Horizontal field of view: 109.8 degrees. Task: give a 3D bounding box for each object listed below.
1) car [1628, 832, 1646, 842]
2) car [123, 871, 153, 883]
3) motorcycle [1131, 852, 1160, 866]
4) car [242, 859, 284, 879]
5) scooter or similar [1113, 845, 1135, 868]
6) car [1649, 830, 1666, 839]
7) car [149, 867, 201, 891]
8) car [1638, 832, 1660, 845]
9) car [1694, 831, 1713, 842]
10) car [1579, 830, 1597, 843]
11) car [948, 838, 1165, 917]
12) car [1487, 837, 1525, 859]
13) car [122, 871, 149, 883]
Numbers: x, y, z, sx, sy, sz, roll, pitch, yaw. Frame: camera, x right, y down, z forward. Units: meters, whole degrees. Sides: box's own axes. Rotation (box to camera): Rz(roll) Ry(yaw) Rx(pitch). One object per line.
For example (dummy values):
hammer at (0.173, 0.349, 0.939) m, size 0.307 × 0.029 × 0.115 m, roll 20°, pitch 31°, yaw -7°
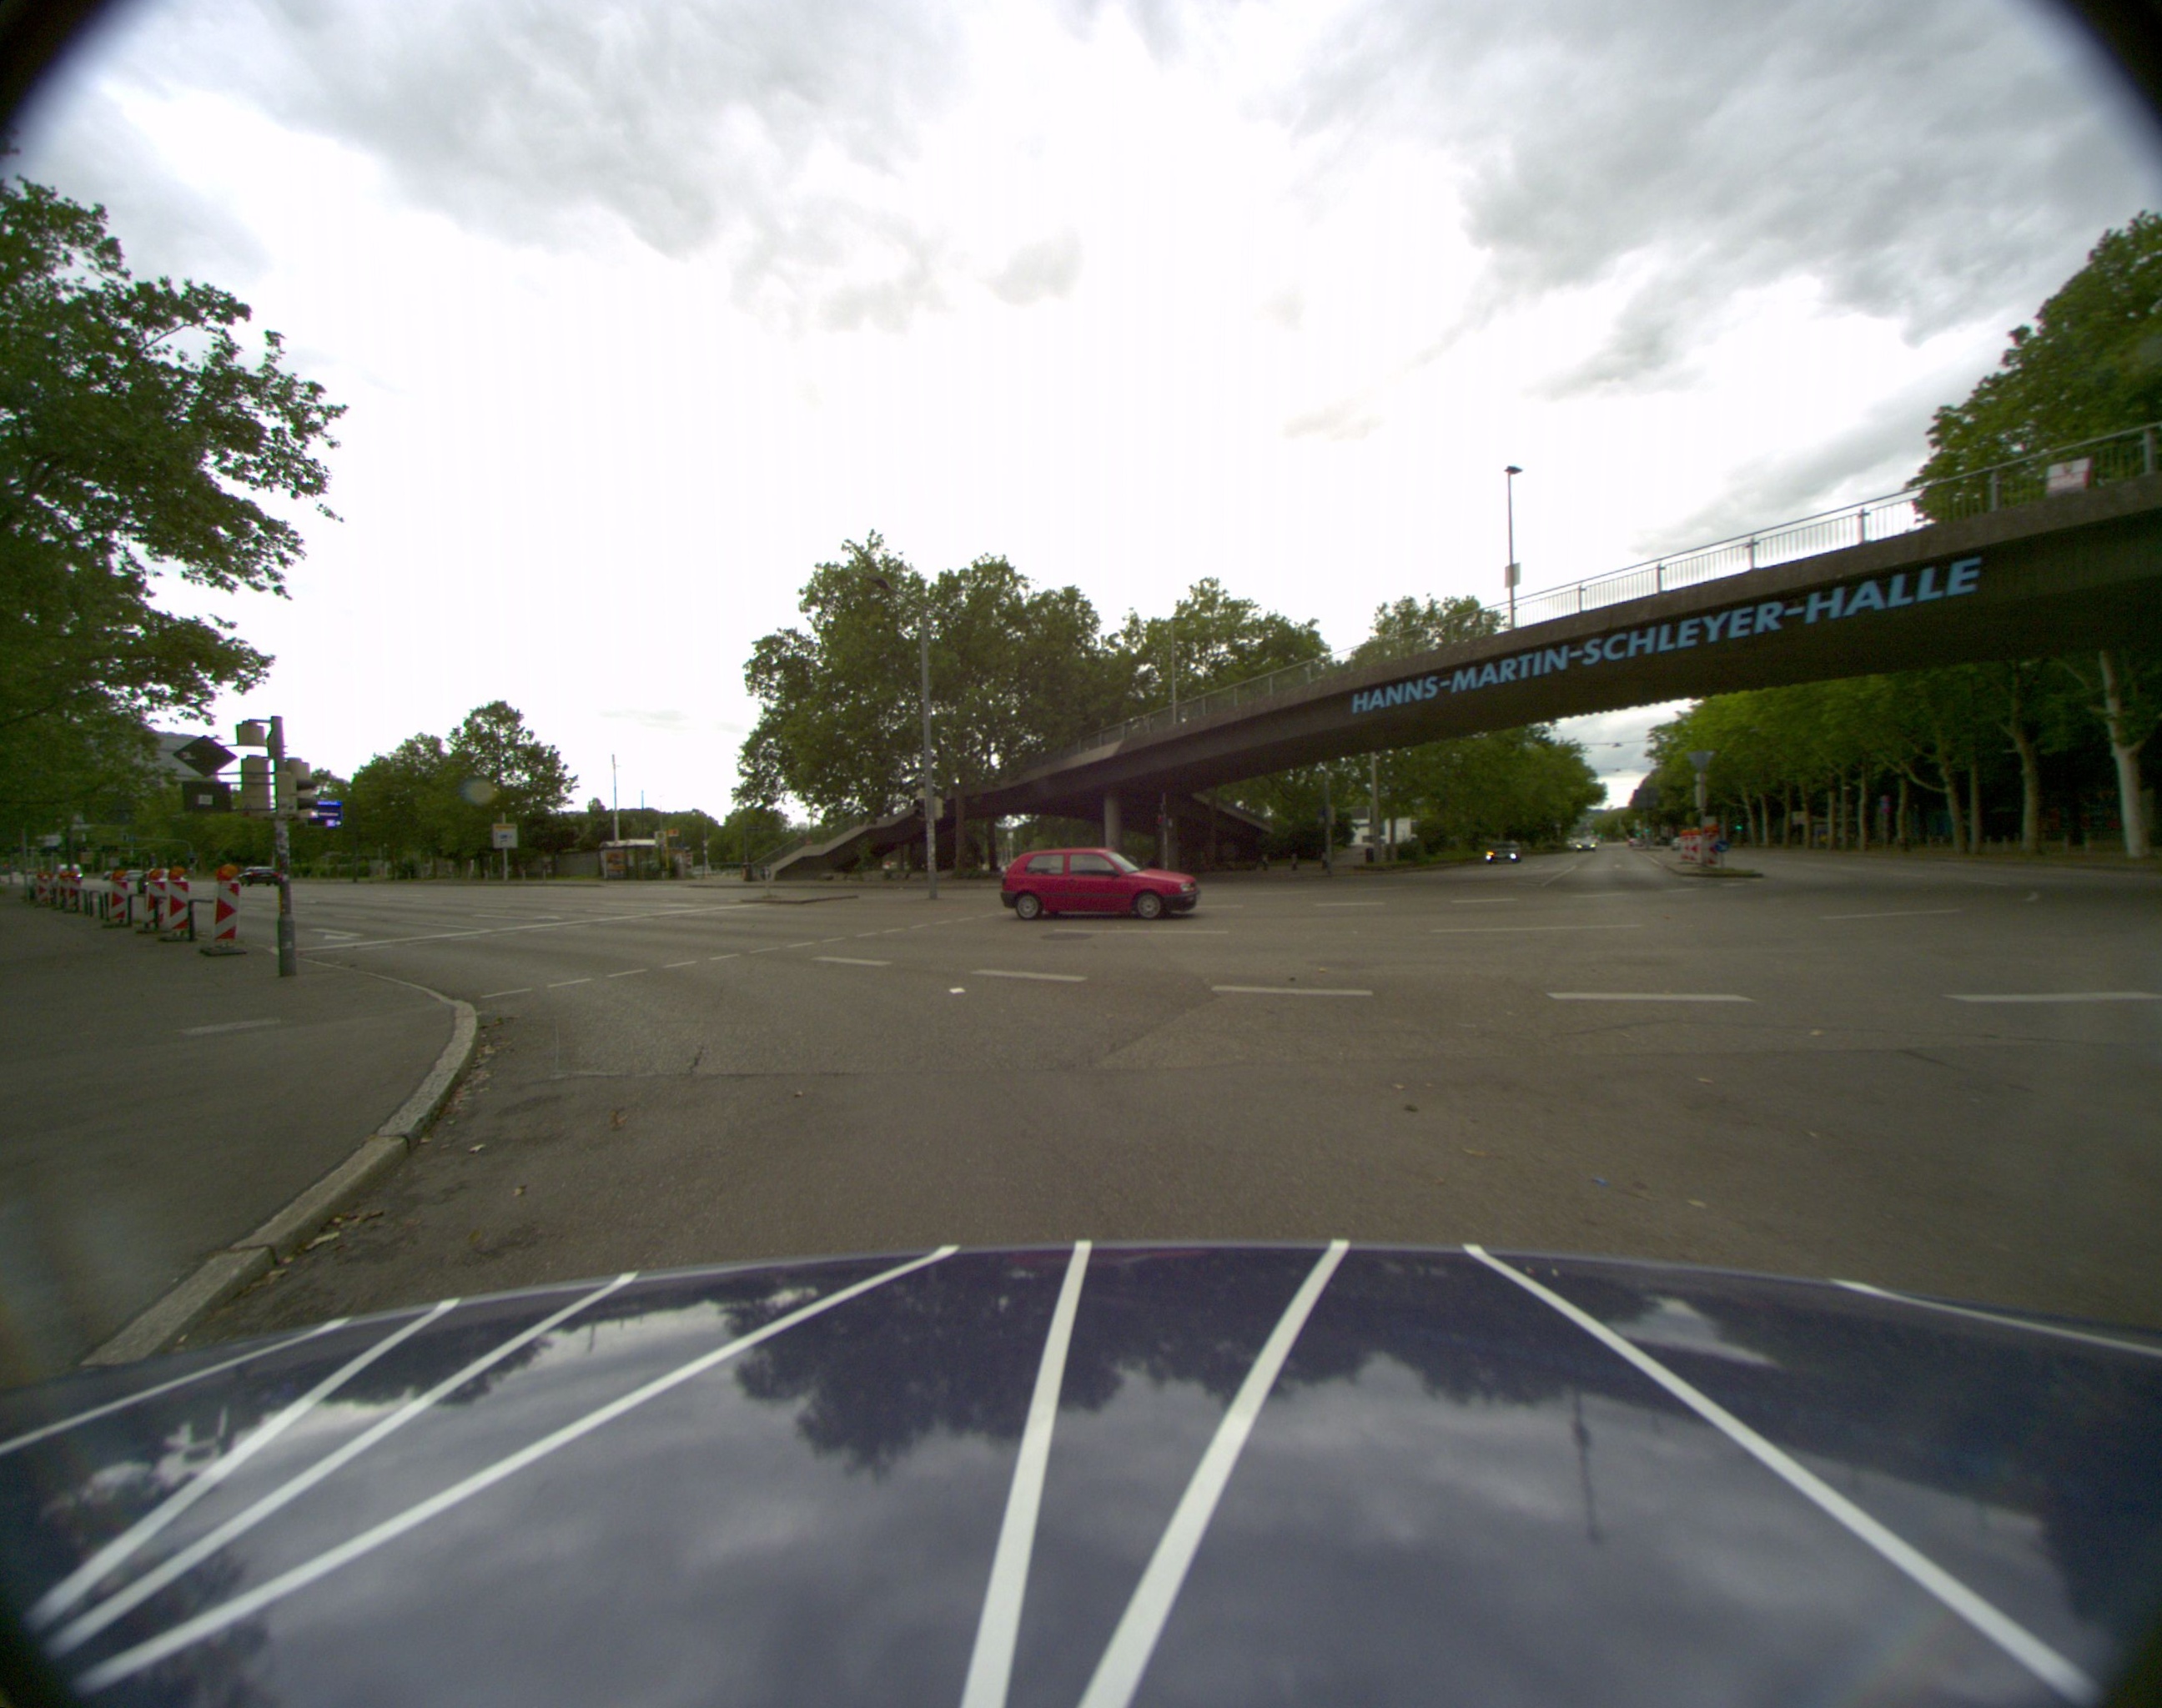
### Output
car at (98.071, -3.078, 134.094) m, size 1.995 × 1.650 × 4.006 m, roll -1°, pitch 2°, yaw 28°
car at (-127.394, 3.149, 102.659) m, size 3.989 × 1.516 × 2.004 m, roll -1°, pitch 1°, yaw 32°
motorcycle at (4.019, 0.297, 47.555) m, size 1.732 × 0.846 × 0.651 m, roll -1°, pitch 1°, yaw 39°
car at (-68.855, 1.264, 63.920) m, size 4.415 × 1.597 × 1.779 m, roll -1°, pitch 1°, yaw 35°
scooter or similar at (2.556, 0.153, 44.880) m, size 1.224 × 1.311 × 0.418 m, roll 2°, pitch 2°, yaw 33°
car at (102.510, -3.440, 135.176) m, size 1.846 × 1.416 × 4.007 m, roll -1°, pitch 1°, yaw 28°
car at (-61.790, 1.676, 51.808) m, size 3.989 × 1.502 × 1.803 m, roll -1°, pitch 1°, yaw 34°
car at (67.574, -1.894, 90.420) m, size 1.994 × 1.411 × 4.007 m, roll -1°, pitch 2°, yaw 35°
car at (81.332, -2.301, 99.274) m, size 1.611 × 1.305 × 3.401 m, roll -1°, pitch 2°, yaw 35°
car at (60.577, -2.137, 90.747) m, size 1.758 × 1.357 × 3.722 m, roll 0°, pitch 3°, yaw 35°
car at (-0.491, 0.471, 15.861) m, size 4.067 × 1.443 × 1.837 m, roll -1°, pitch 2°, yaw 21°
car at (29.463, -0.409, 52.641) m, size 1.758 × 1.314 × 3.722 m, roll 0°, pitch 3°, yaw 38°
car at (-135.946, 3.308, 109.201) m, size 4.373 × 1.521 × 2.004 m, roll -1°, pitch 1°, yaw 34°
